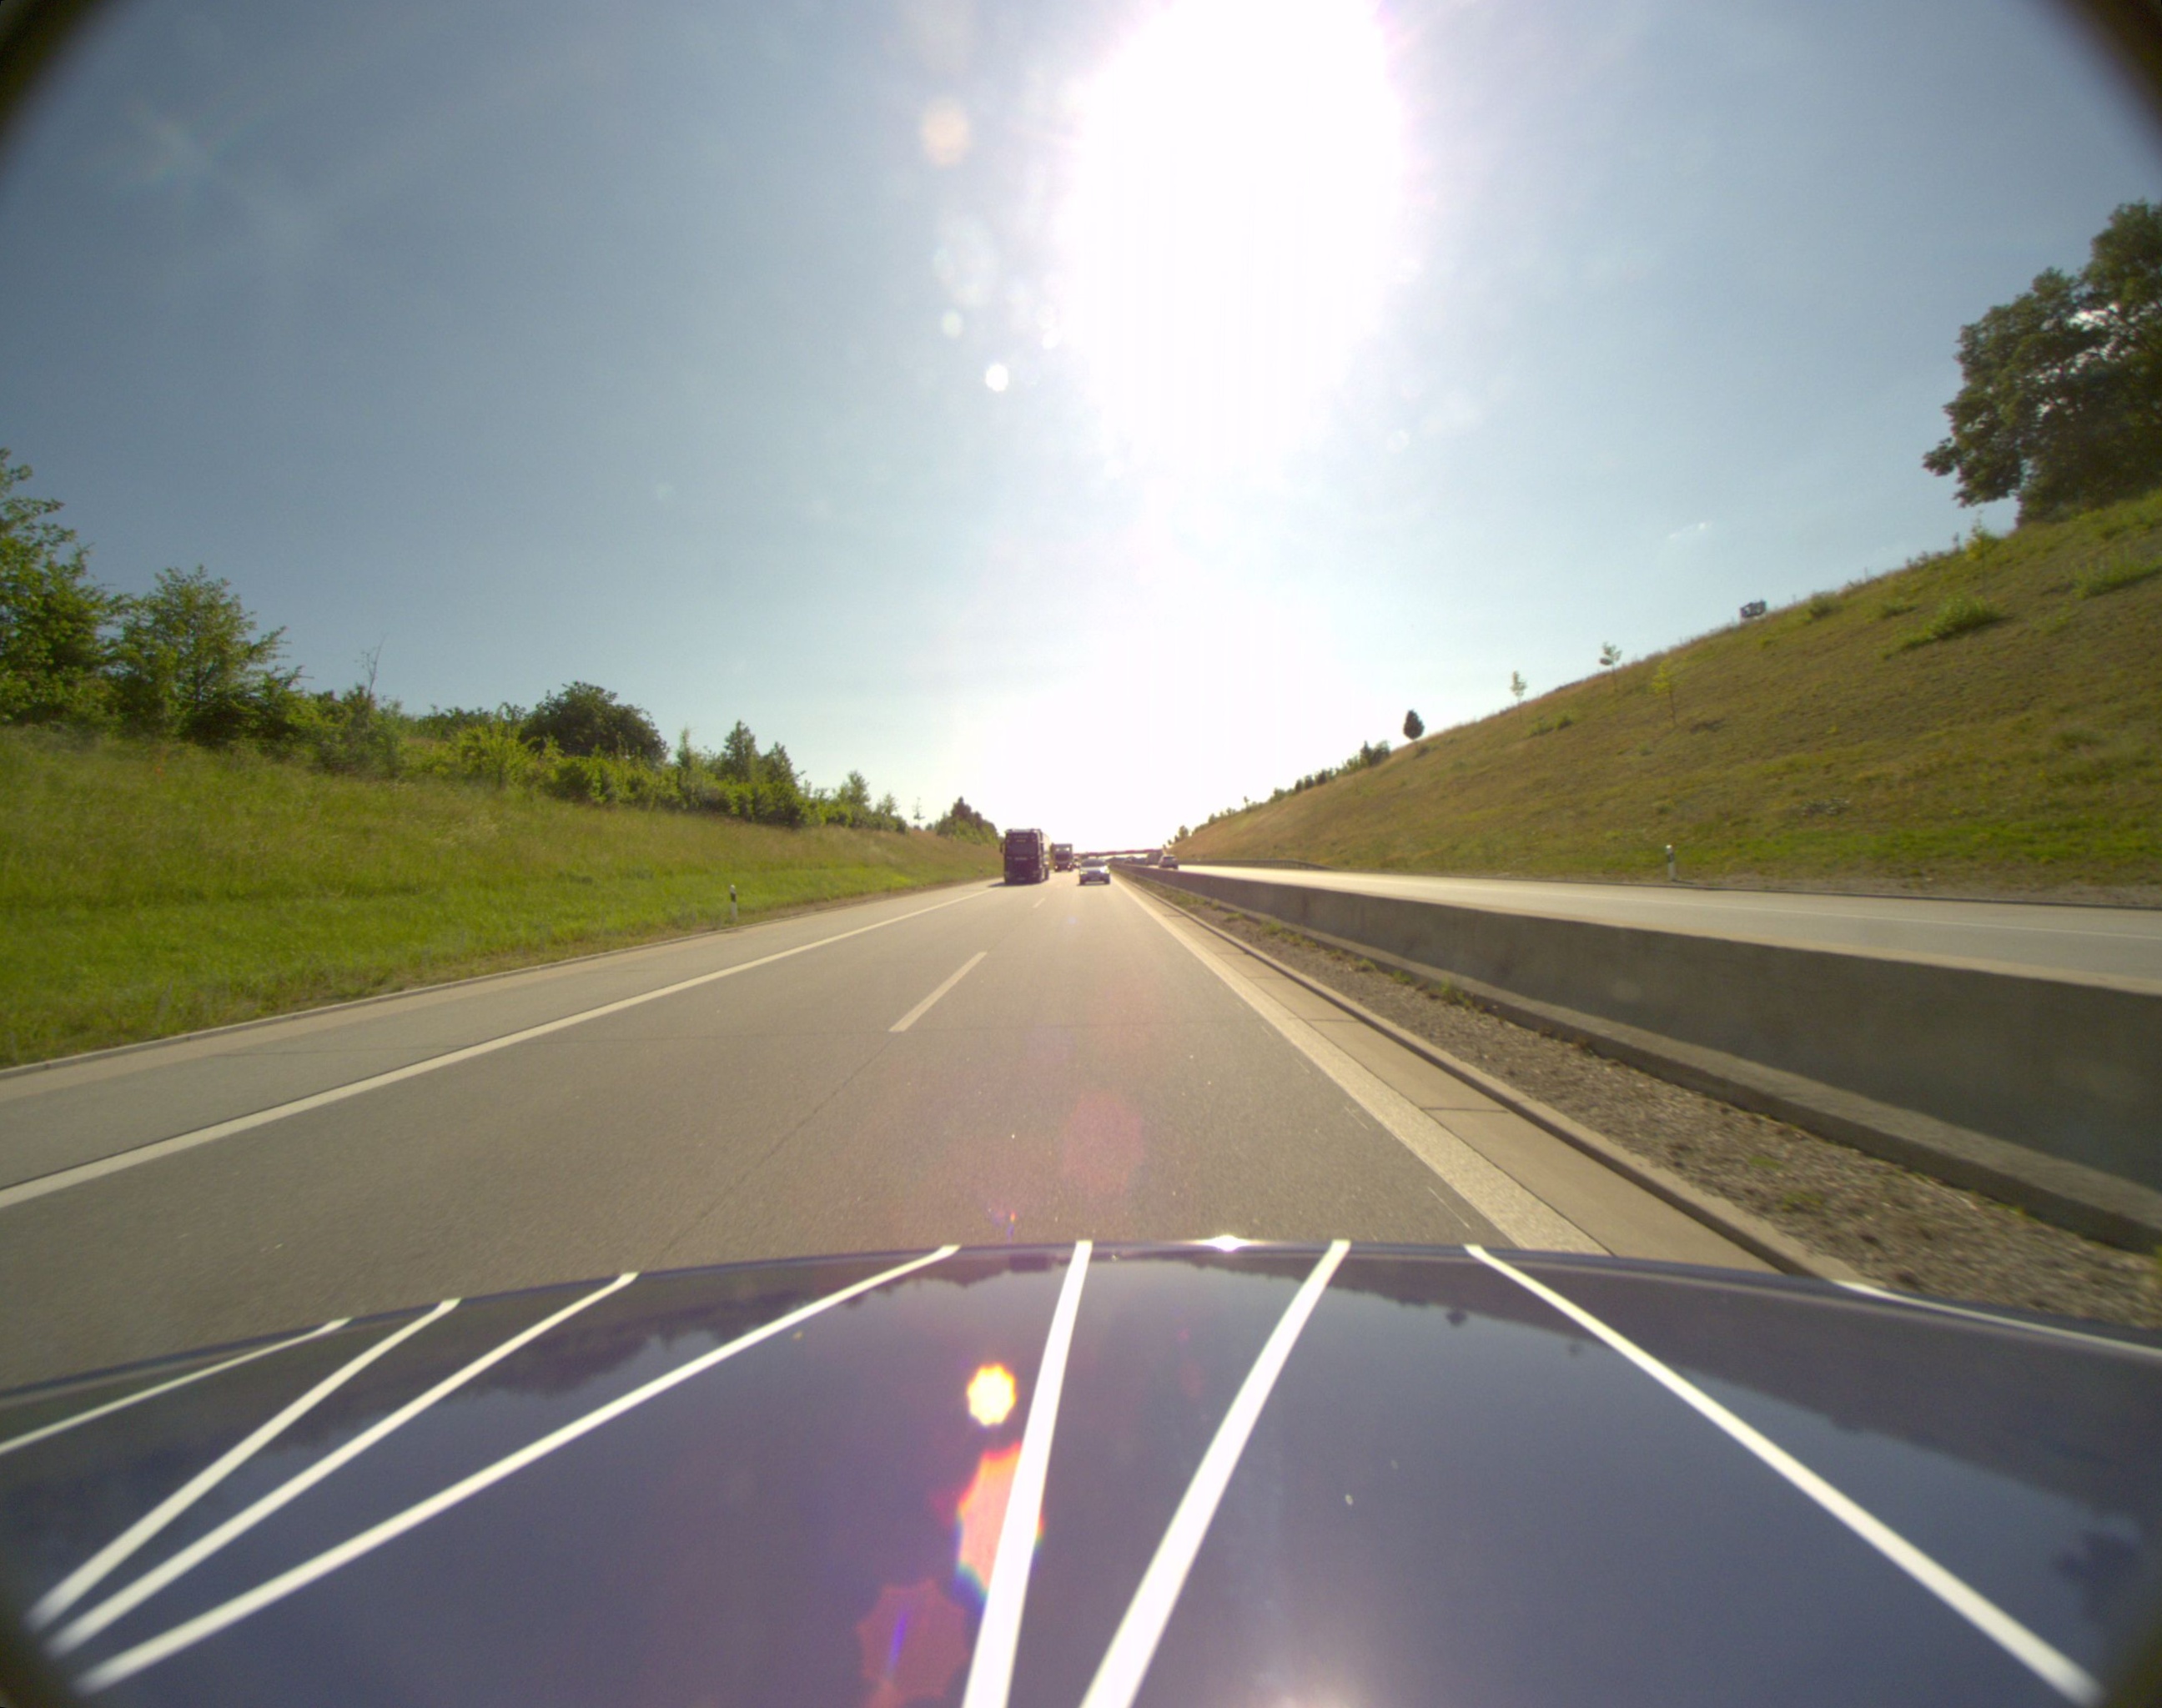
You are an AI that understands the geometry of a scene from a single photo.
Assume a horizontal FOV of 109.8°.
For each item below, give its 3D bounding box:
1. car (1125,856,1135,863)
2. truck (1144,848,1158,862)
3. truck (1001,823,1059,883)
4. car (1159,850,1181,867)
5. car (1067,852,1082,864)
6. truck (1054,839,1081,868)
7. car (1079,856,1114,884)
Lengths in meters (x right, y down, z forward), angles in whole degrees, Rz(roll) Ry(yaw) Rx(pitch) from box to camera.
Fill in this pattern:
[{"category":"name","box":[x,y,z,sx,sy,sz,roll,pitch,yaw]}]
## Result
[{"category":"car","box":[10.238,1.174,159.283,1.858,1.453,4.333,-3,0,1]},{"category":"truck","box":[13.529,0.233,147.616,2.118,2.446,5.951,-3,0,0]},{"category":"truck","box":[-3.619,-0.089,57.391,2.623,3.795,13.405,-5,0,2]},{"category":"car","box":[9.127,0.430,78.441,1.780,1.592,4.039,-3,0,1]},{"category":"car","box":[-1.328,0.768,150.219,2.816,2.143,5.947,-2,0,0]},{"category":"truck","box":[-1.811,-0.086,110.938,3.024,3.795,13.405,-2,0,2]},{"category":"car","box":[0.976,0.960,46.217,1.794,1.501,3.636,-4,0,5]}]
